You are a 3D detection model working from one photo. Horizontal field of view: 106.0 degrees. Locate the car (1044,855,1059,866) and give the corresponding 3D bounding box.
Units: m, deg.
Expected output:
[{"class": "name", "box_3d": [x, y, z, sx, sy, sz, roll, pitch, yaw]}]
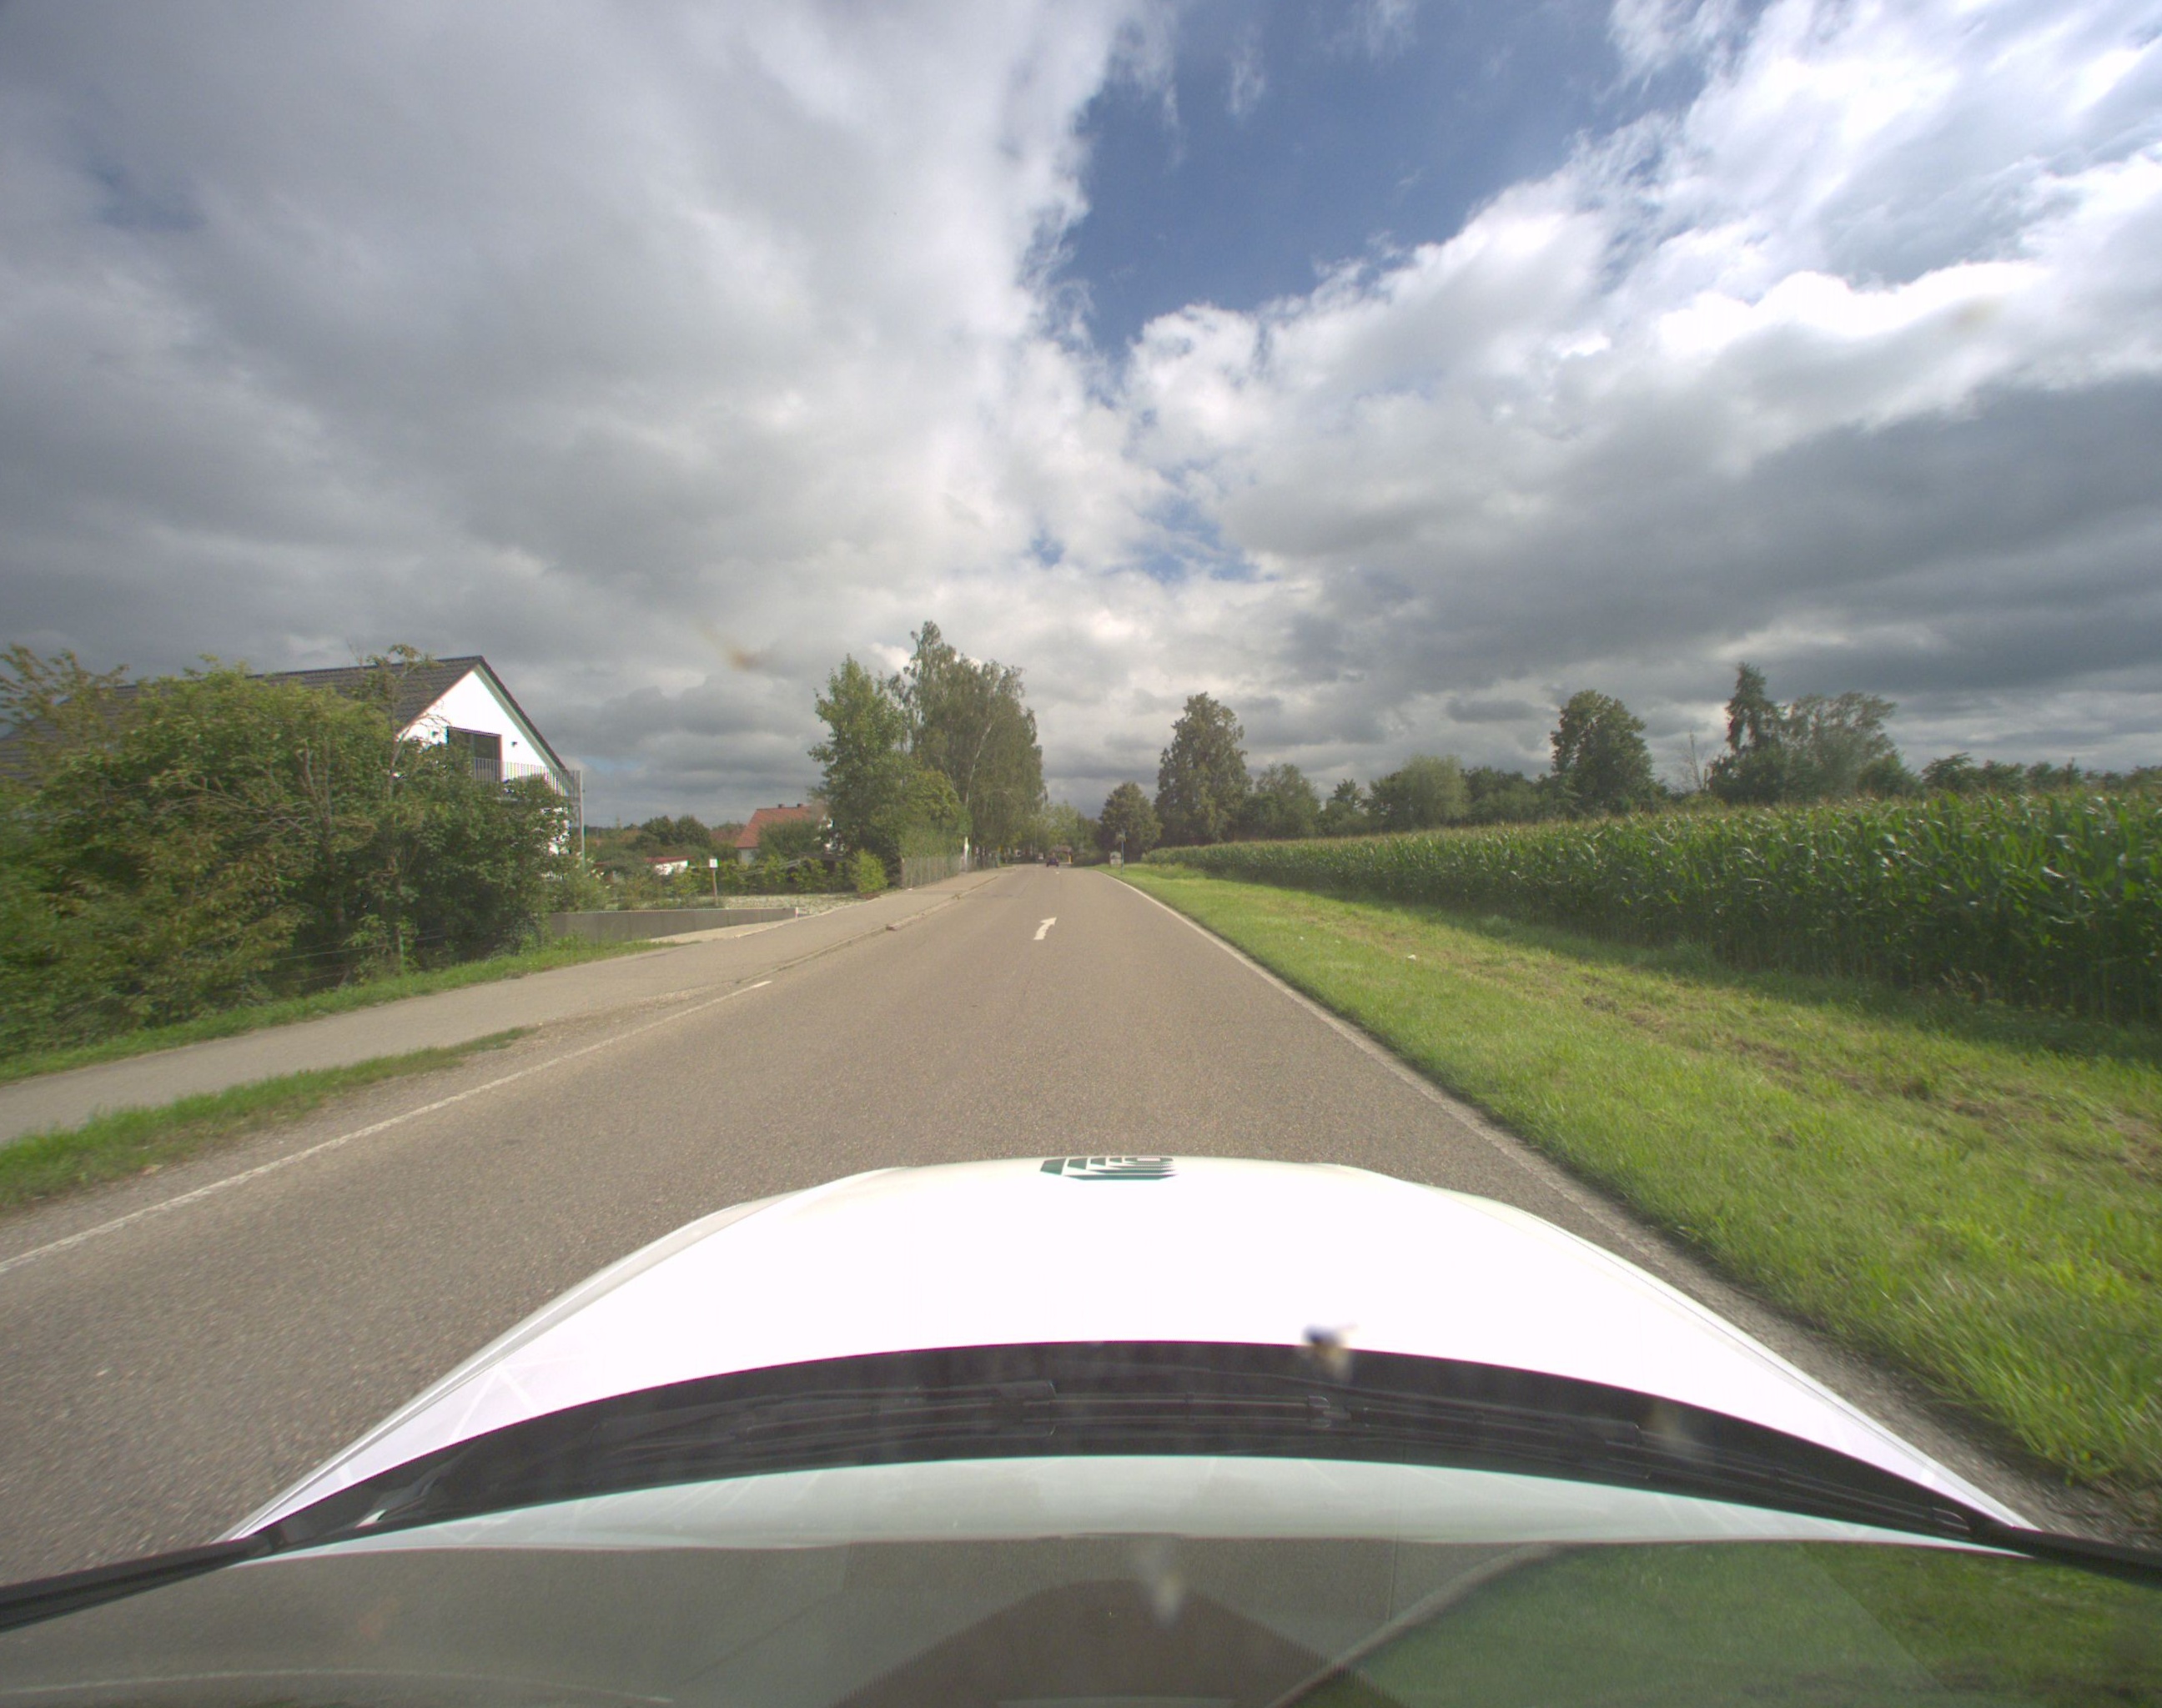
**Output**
[{"class": "car", "box_3d": [-4.621, 1.016, 127.666, 1.991, 1.585, 3.991, -1, 0, -6]}]
